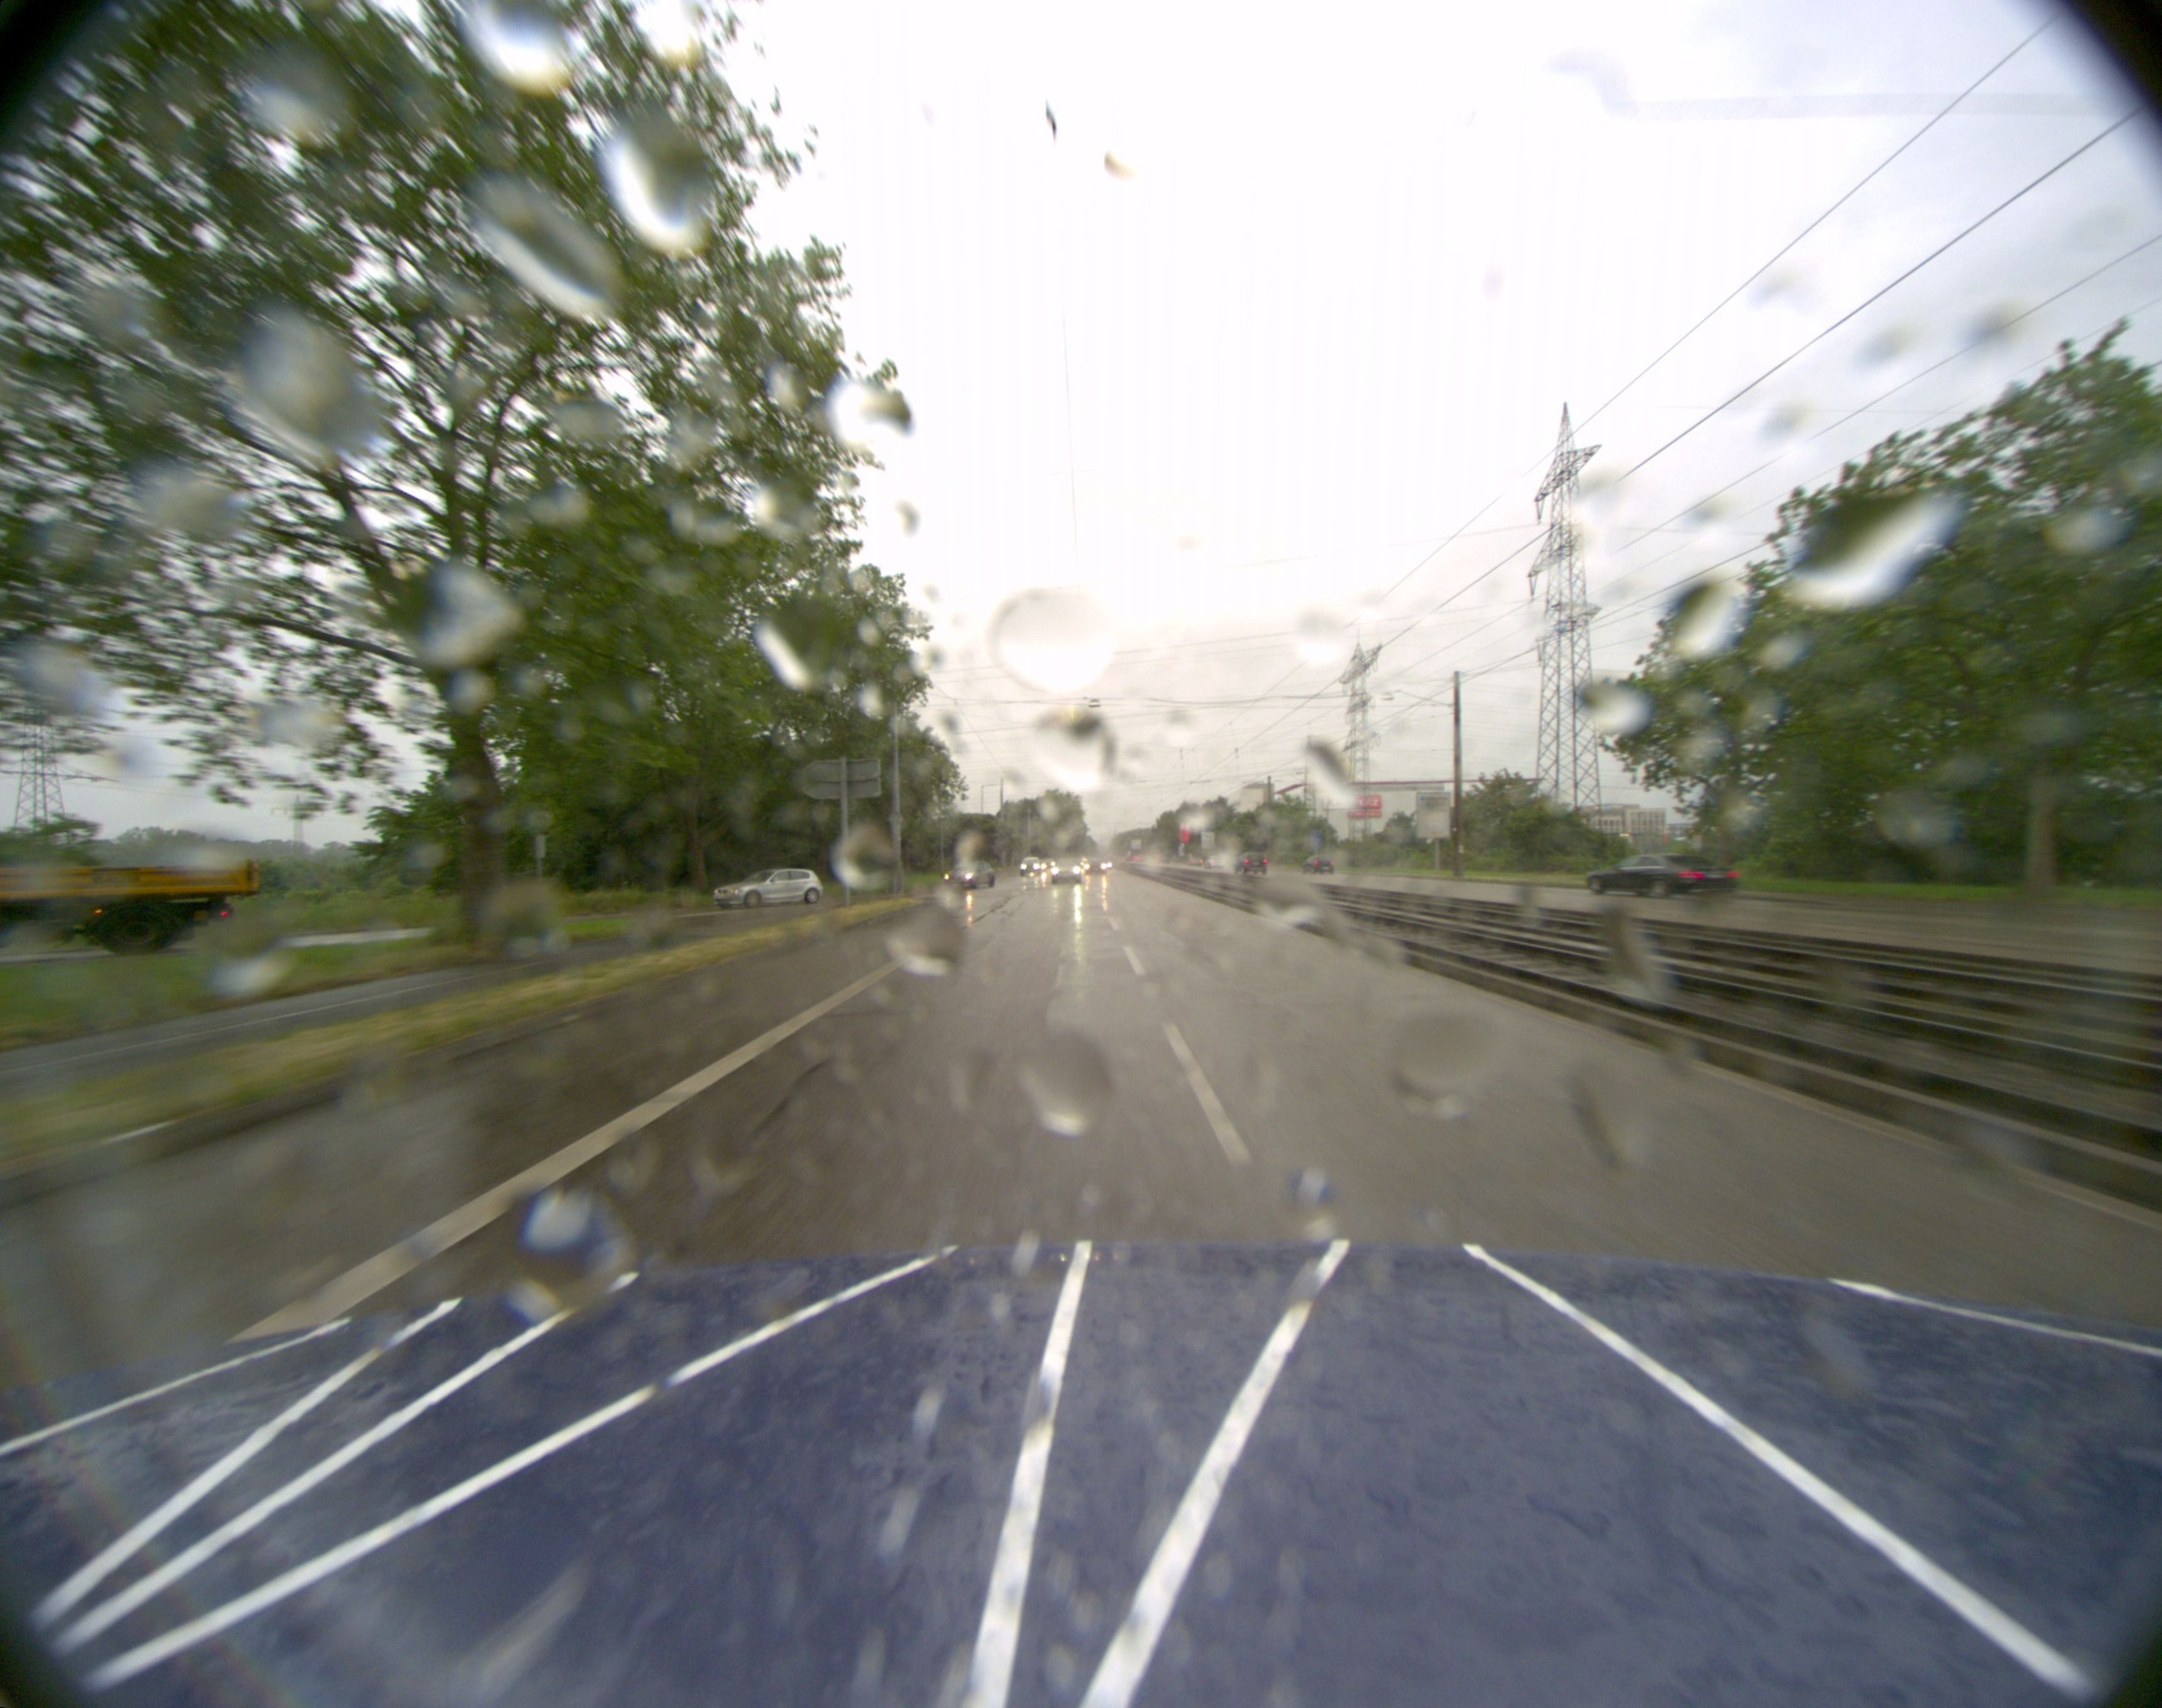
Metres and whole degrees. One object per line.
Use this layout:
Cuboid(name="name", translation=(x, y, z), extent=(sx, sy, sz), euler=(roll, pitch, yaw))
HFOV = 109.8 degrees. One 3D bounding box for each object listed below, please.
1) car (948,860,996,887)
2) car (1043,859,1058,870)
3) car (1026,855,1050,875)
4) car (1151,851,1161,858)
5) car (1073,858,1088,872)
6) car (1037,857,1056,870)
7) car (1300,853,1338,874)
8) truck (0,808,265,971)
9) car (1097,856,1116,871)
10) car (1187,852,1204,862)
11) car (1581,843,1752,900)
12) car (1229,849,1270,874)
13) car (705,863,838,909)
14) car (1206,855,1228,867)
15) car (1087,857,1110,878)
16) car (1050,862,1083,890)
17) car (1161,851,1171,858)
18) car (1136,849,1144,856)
Cuboid(name="car", translation=(-5.920, 1.029, 41.625), extent=(1.892, 1.349, 4.278), euler=(-2, -1, 1))
Cuboid(name="car", translation=(-4.248, 1.436, 105.623), extent=(1.784, 1.419, 4.001), euler=(-2, -1, 1))
Cuboid(name="car", translation=(-3.907, 0.987, 69.477), extent=(1.797, 1.692, 4.764), euler=(-2, -1, 1))
Cuboid(name="car", translation=(18.022, 0.157, 182.288), extent=(1.847, 1.564, 5.066), euler=(-2, -1, 0))
Cuboid(name="car", translation=(-0.079, 1.418, 99.114), extent=(1.816, 1.692, 4.001), euler=(-2, -1, 1))
Cuboid(name="car", translation=(-3.750, 1.037, 82.978), extent=(1.784, 1.419, 4.001), euler=(-2, -1, 1))
Cuboid(name="car", translation=(18.826, 0.720, 60.317), extent=(1.693, 1.542, 4.000), euler=(-2, -1, -1))
Cuboid(name="truck", translation=(-22.438, 0.756, 16.024), extent=(2.557, 3.238, 6.946), euler=(-3, -1, 45))
Cuboid(name="car", translation=(2.797, 1.060, 83.450), extent=(1.807, 1.521, 3.645), euler=(-2, -1, -1))
Cuboid(name="car", translation=(17.641, 0.499, 117.275), extent=(1.762, 1.354, 5.071), euler=(-2, -1, 0))
Cuboid(name="car", translation=(19.317, 0.568, 25.400), extent=(1.846, 1.676, 4.648), euler=(-2, -1, -5))
Cuboid(name="car", translation=(13.157, 0.571, 59.492), extent=(1.892, 1.798, 5.004), euler=(-2, -1, -2))
Cuboid(name="car", translation=(-11.714, 1.175, 29.094), extent=(1.627, 1.494, 4.615), euler=(-3, -1, 32))
Cuboid(name="car", translation=(15.499, 0.805, 86.823), extent=(1.746, 1.346, 4.546), euler=(-2, -1, 0))
Cuboid(name="car", translation=(1.492, 1.141, 64.083), extent=(1.815, 1.692, 4.001), euler=(-2, -1, 1))
Cuboid(name="car", translation=(-0.837, 1.272, 44.871), extent=(1.807, 1.521, 3.645), euler=(-2, -1, -1))
Cuboid(name="car", translation=(18.576, 0.215, 165.957), extent=(1.998, 1.455, 5.252), euler=(1, 0, 3))
Cuboid(name="car", translation=(15.480, -0.385, 199.674), extent=(1.829, 1.625, 5.137), euler=(-2, -1, 0))
